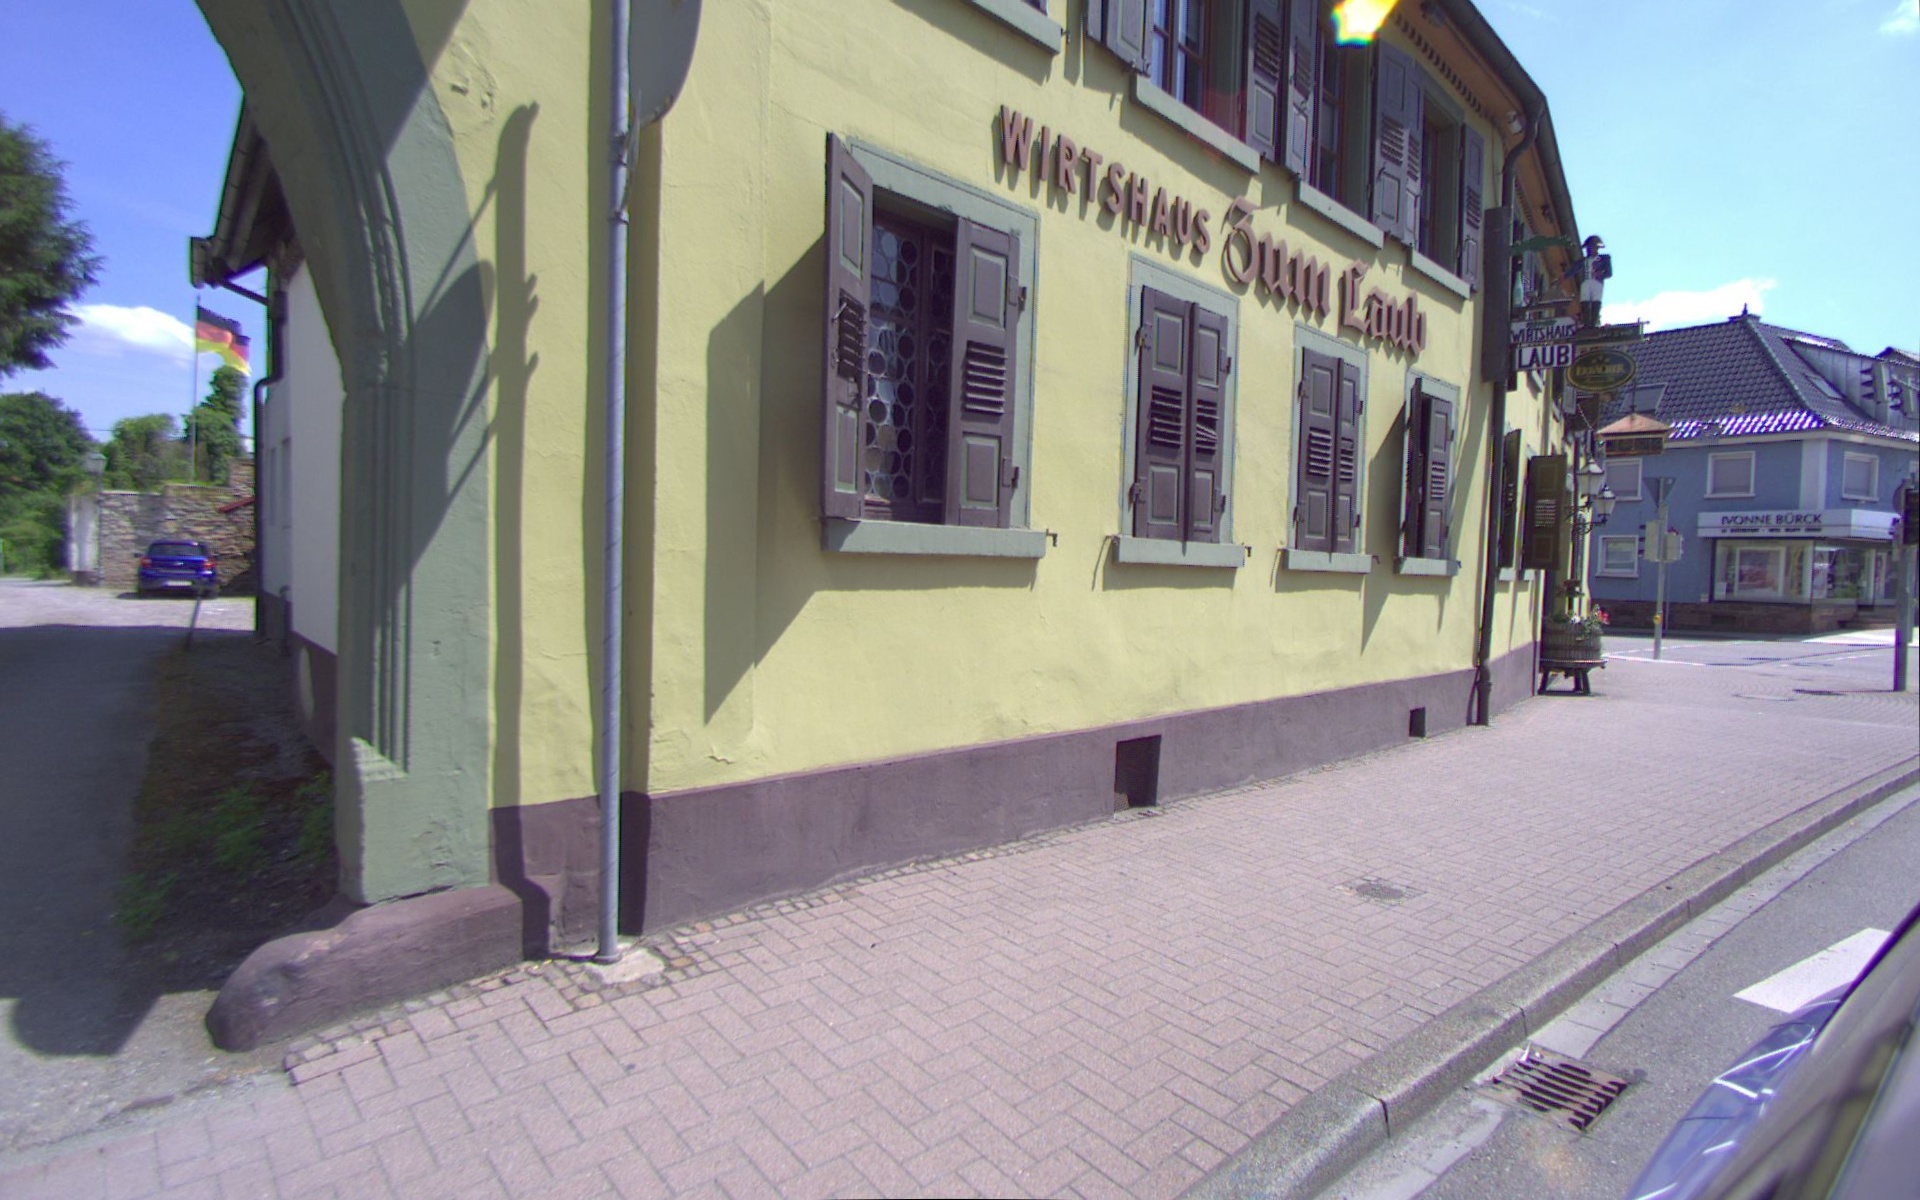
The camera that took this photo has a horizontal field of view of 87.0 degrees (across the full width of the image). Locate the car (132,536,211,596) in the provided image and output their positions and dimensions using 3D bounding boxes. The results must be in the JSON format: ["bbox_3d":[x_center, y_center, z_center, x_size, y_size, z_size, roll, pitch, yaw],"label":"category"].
[{"bbox_3d":[-20.764,-0.925,26.750,1.564,1.426,3.660,0,4,-37],"label":"car"}]
